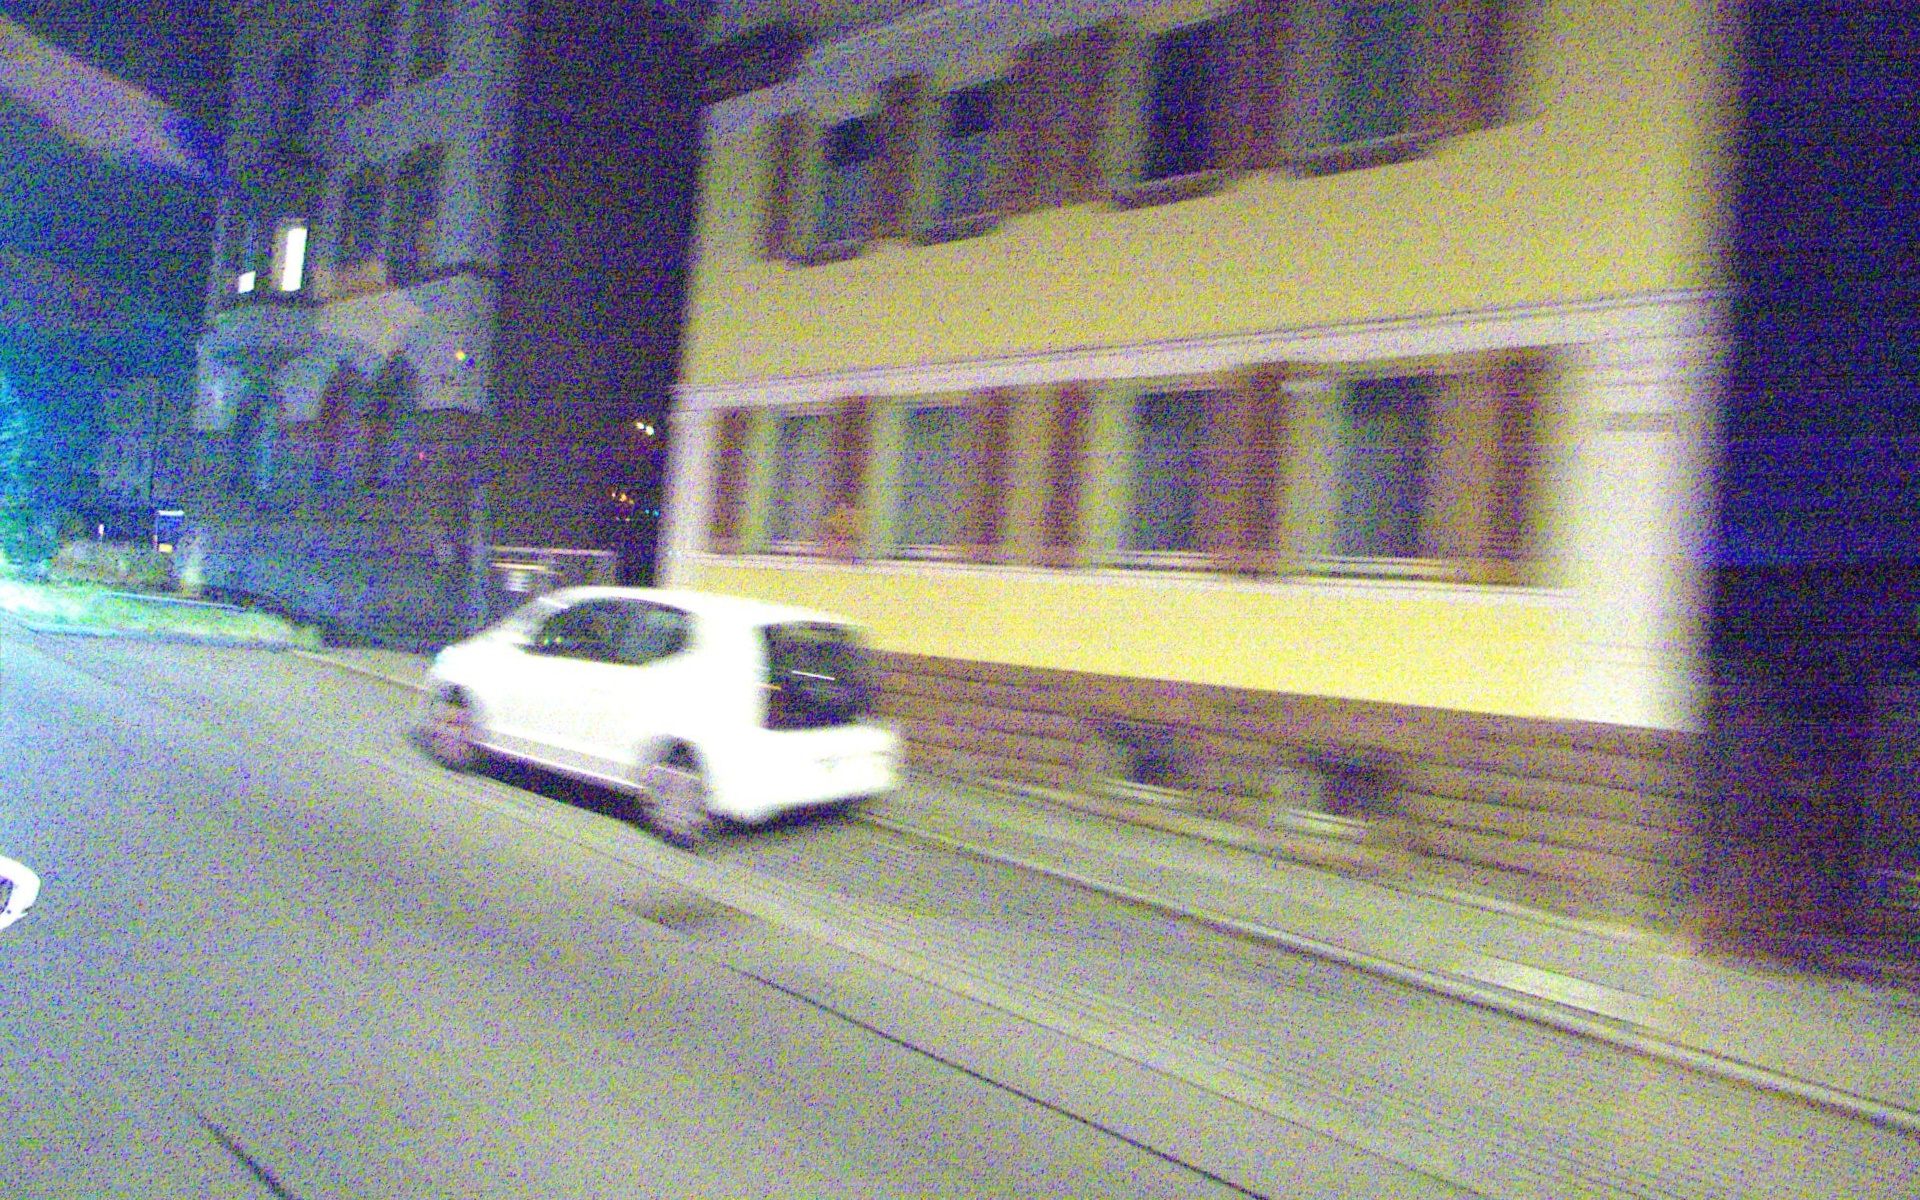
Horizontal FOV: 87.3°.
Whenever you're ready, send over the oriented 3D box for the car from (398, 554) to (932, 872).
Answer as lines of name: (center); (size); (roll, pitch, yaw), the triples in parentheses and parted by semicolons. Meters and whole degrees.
car: (-2.192, 0.635, 7.226); (3.545, 1.503, 1.669); (7, 1, 33)
